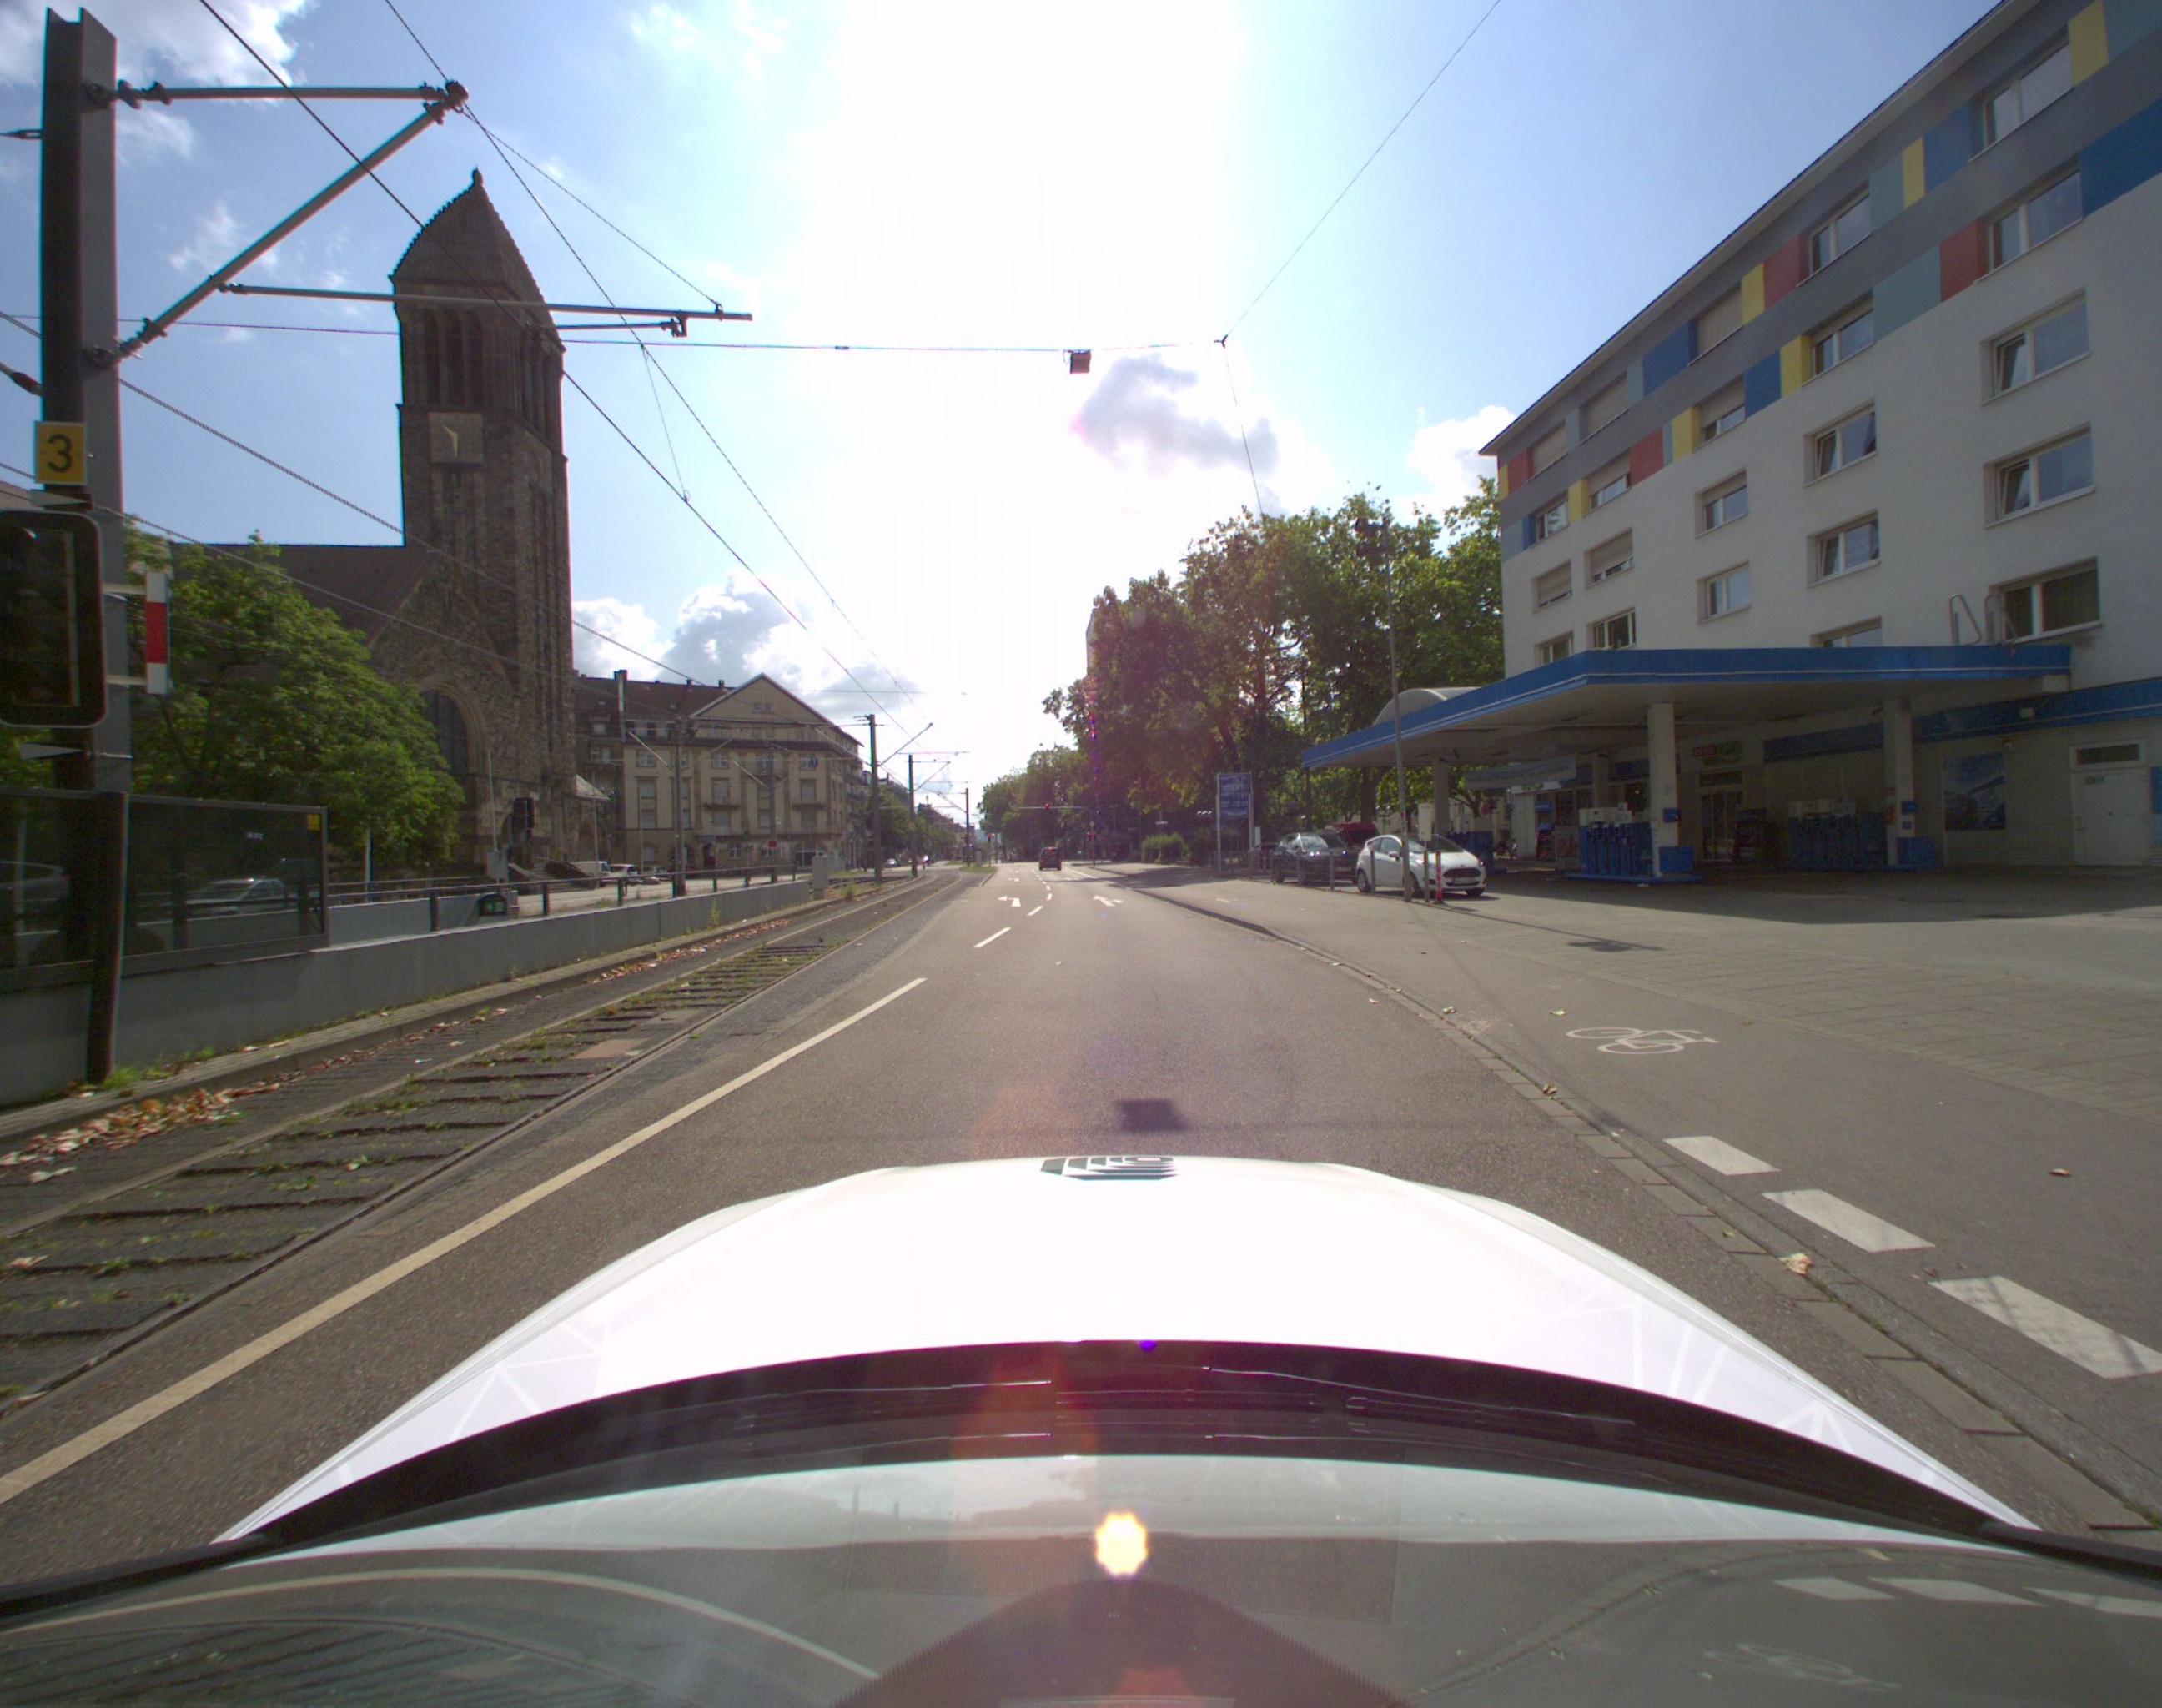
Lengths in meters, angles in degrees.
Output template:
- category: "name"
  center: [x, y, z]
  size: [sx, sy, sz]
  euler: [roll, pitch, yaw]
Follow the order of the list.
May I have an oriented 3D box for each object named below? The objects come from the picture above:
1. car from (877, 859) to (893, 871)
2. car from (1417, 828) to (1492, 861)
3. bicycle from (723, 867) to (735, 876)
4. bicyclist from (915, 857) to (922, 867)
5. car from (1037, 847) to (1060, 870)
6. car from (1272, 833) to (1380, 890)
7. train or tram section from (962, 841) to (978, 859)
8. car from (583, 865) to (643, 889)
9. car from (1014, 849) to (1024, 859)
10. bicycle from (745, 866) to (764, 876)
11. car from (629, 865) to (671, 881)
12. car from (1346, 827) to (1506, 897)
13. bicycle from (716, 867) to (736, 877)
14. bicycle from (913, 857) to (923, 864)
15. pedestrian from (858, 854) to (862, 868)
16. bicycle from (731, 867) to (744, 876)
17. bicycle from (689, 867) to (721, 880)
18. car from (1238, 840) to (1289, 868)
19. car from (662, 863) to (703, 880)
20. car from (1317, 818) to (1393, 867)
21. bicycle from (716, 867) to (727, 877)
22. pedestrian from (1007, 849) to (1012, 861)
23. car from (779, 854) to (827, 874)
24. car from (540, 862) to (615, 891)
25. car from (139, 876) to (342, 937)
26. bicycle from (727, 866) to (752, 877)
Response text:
- category: "car"
  center: [-34.874, 1.916, 145.032]
  size: [1.990, 2.013, 3.994]
  euler: [-2, 0, -4]
- category: "car"
  center: [21.627, -0.536, 47.374]
  size: [2.002, 1.754, 4.647]
  euler: [-1, 0, -3]
- category: "bicycle"
  center: [-40.293, 2.013, 93.292]
  size: [0.809, 1.053, 2.539]
  euler: [-2, 0, -34]
- category: "bicyclist"
  center: [-25.839, 1.219, 129.239]
  size: [0.775, 1.511, 1.001]
  euler: [-2, 0, 2]
- category: "car"
  center: [-2.655, 0.388, 66.732]
  size: [1.747, 1.809, 3.469]
  euler: [-1, 0, -4]
- category: "car"
  center: [7.641, 0.197, 25.891]
  size: [1.802, 1.602, 4.576]
  euler: [-2, 0, -4]
- category: "train or tram section"
  center: [-22.311, -0.764, 164.459]
  size: [2.236, 3.331, 12.951]
  euler: [-2, 0, -4]
- category: "car"
  center: [-34.152, 1.661, 59.491]
  size: [3.261, 1.502, 1.850]
  euler: [-2, 0, -7]
- category: "car"
  center: [-11.908, -0.048, 156.264]
  size: [1.860, 1.752, 3.993]
  euler: [-2, 0, -5]
- category: "bicycle"
  center: [-37.948, 1.970, 94.684]
  size: [0.799, 1.053, 2.572]
  euler: [-2, 0, 8]
- category: "car"
  center: [-46.872, 2.063, 88.512]
  size: [3.953, 1.639, 1.812]
  euler: [-2, 0, 20]
- category: "car"
  center: [7.963, 0.162, 19.258]
  size: [1.803, 1.455, 3.994]
  euler: [-2, 0, -5]
- category: "bicycle"
  center: [-39.604, 1.994, 90.791]
  size: [1.987, 1.114, 0.481]
  euler: [-2, 0, -41]
- category: "bicycle"
  center: [-25.863, 1.023, 129.436]
  size: [0.890, 1.048, 2.311]
  euler: [-2, 0, 4]
- category: "pedestrian"
  center: [-31.359, 0.990, 115.507]
  size: [0.477, 2.013, 0.418]
  euler: [-2, 0, -10]
- category: "bicycle"
  center: [-39.572, 2.002, 93.769]
  size: [0.809, 1.053, 2.539]
  euler: [-2, 0, -34]
- category: "bicycle"
  center: [-42.037, 2.165, 91.103]
  size: [3.288, 1.253, 1.002]
  euler: [-2, 0, 11]
- category: "car"
  center: [10.405, 0.019, 46.671]
  size: [1.646, 1.470, 4.035]
  euler: [-2, 0, -6]
- category: "car"
  center: [-43.985, 1.947, 89.853]
  size: [3.949, 1.674, 2.012]
  euler: [-2, 0, 28]
- category: "car"
  center: [15.858, -0.639, 47.589]
  size: [2.107, 2.582, 6.013]
  euler: [-2, 0, -3]
- category: "bicycle"
  center: [-41.008, 2.023, 92.872]
  size: [0.745, 1.053, 2.539]
  euler: [-2, 0, -34]
- category: "pedestrian"
  center: [-10.228, 0.150, 115.979]
  size: [0.658, 1.784, 0.659]
  euler: [-2, 0, -5]
- category: "car"
  center: [-31.850, 1.162, 93.328]
  size: [4.821, 2.013, 1.981]
  euler: [-2, 0, -30]
- category: "car"
  center: [-34.669, 1.538, 56.155]
  size: [3.867, 1.748, 1.890]
  euler: [-2, 0, -8]
- category: "car"
  center: [-25.612, 1.527, 25.104]
  size: [1.929, 1.504, 4.404]
  euler: [-2, 0, -6]
- category: "bicycle"
  center: [-38.701, 1.985, 92.291]
  size: [2.575, 1.053, 0.675]
  euler: [-2, 0, -33]
